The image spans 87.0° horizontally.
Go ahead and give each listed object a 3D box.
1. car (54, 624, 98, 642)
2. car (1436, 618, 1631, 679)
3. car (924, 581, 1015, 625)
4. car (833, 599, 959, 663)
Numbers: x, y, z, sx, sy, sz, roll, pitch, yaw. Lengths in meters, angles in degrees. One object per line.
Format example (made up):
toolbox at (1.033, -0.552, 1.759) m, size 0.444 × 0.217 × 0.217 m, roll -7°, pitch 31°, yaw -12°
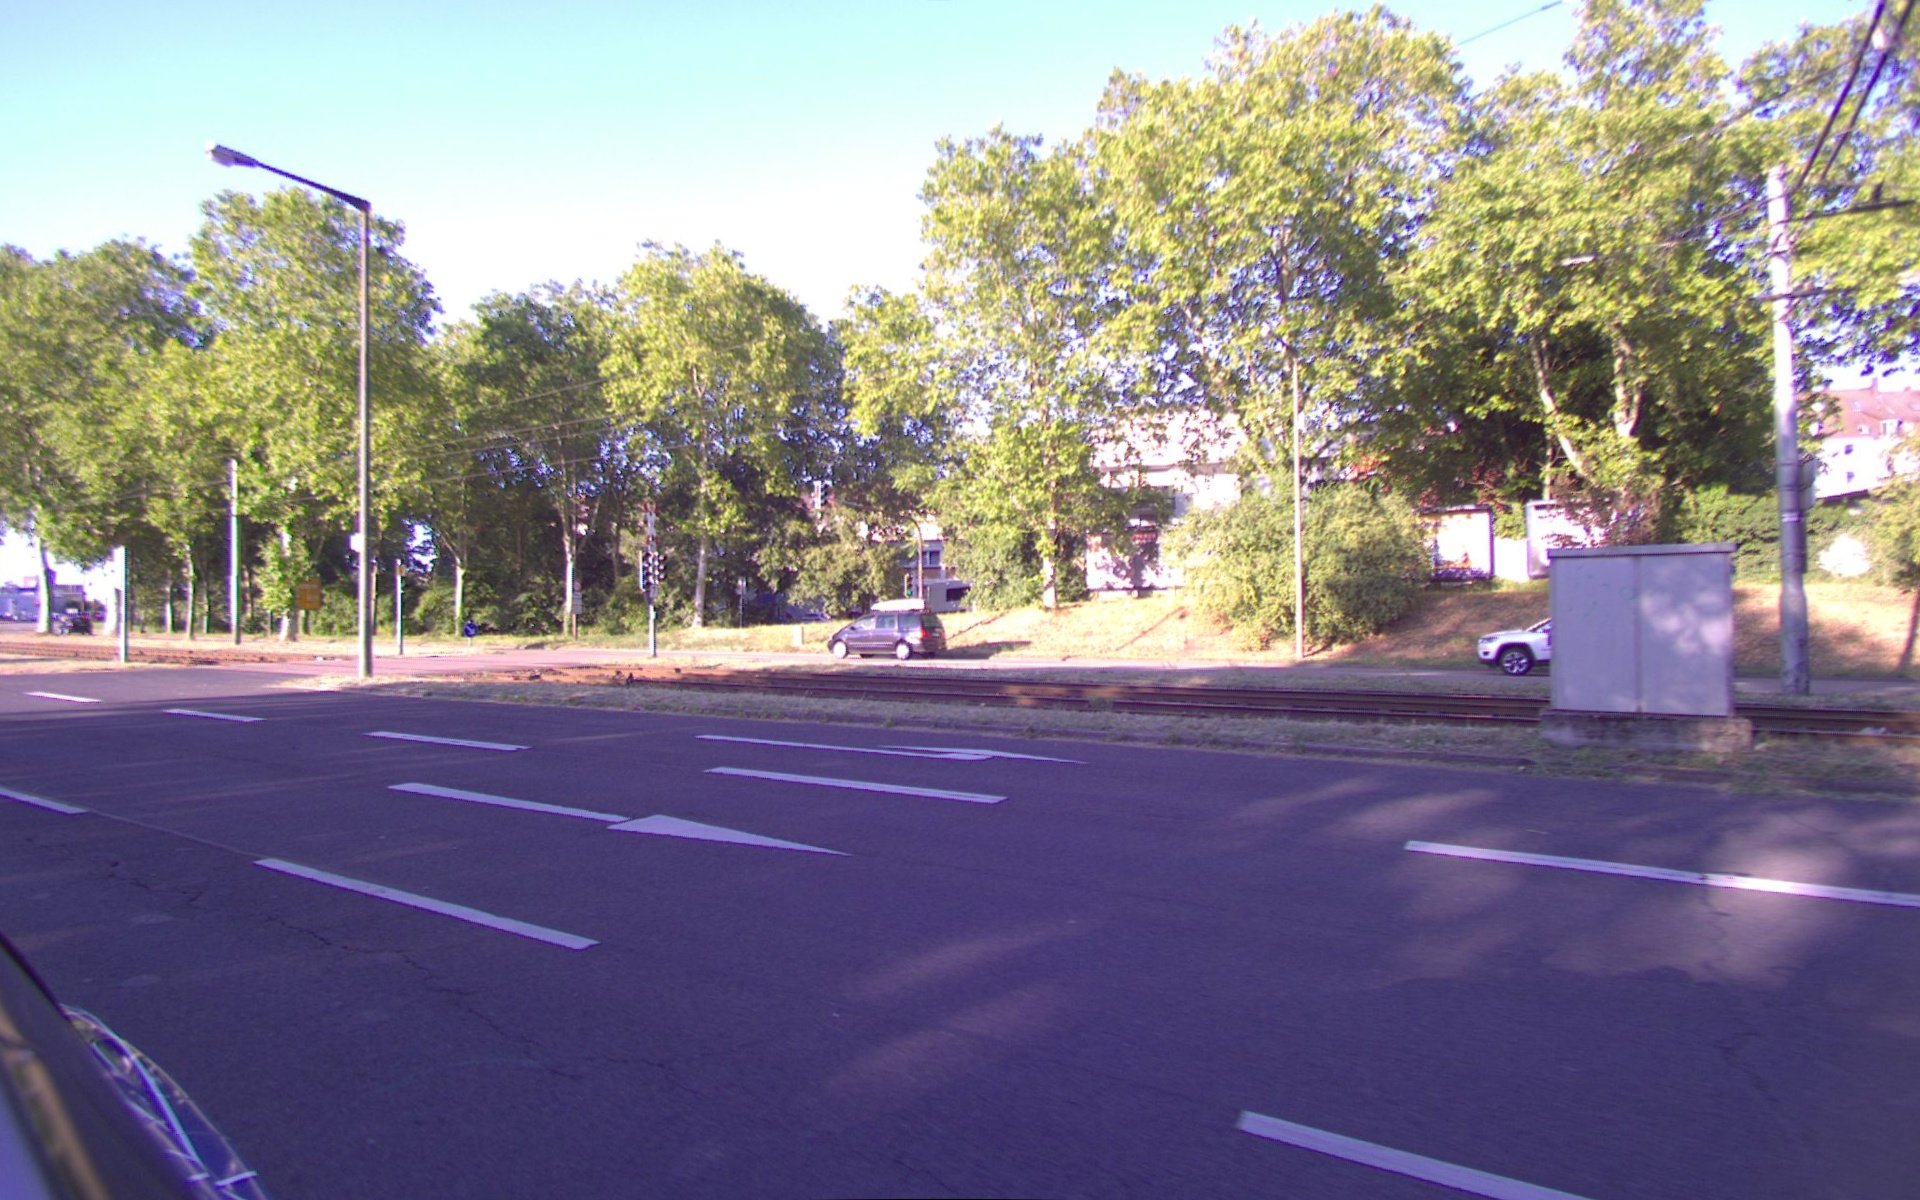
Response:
car at (-72.220, 2.706, 82.661) m, size 3.972 × 1.453 × 1.612 m, roll -2°, pitch -3°, yaw 32°
car at (14.609, 1.212, 25.876) m, size 4.179 × 1.452 × 1.977 m, roll -1°, pitch -3°, yaw 34°
car at (0.560, 0.238, 61.863) m, size 5.618 × 2.532 × 1.784 m, roll -2°, pitch -3°, yaw 37°
car at (-2.318, 1.123, 36.364) m, size 4.179 × 2.179 × 1.977 m, roll -1°, pitch -3°, yaw 34°
